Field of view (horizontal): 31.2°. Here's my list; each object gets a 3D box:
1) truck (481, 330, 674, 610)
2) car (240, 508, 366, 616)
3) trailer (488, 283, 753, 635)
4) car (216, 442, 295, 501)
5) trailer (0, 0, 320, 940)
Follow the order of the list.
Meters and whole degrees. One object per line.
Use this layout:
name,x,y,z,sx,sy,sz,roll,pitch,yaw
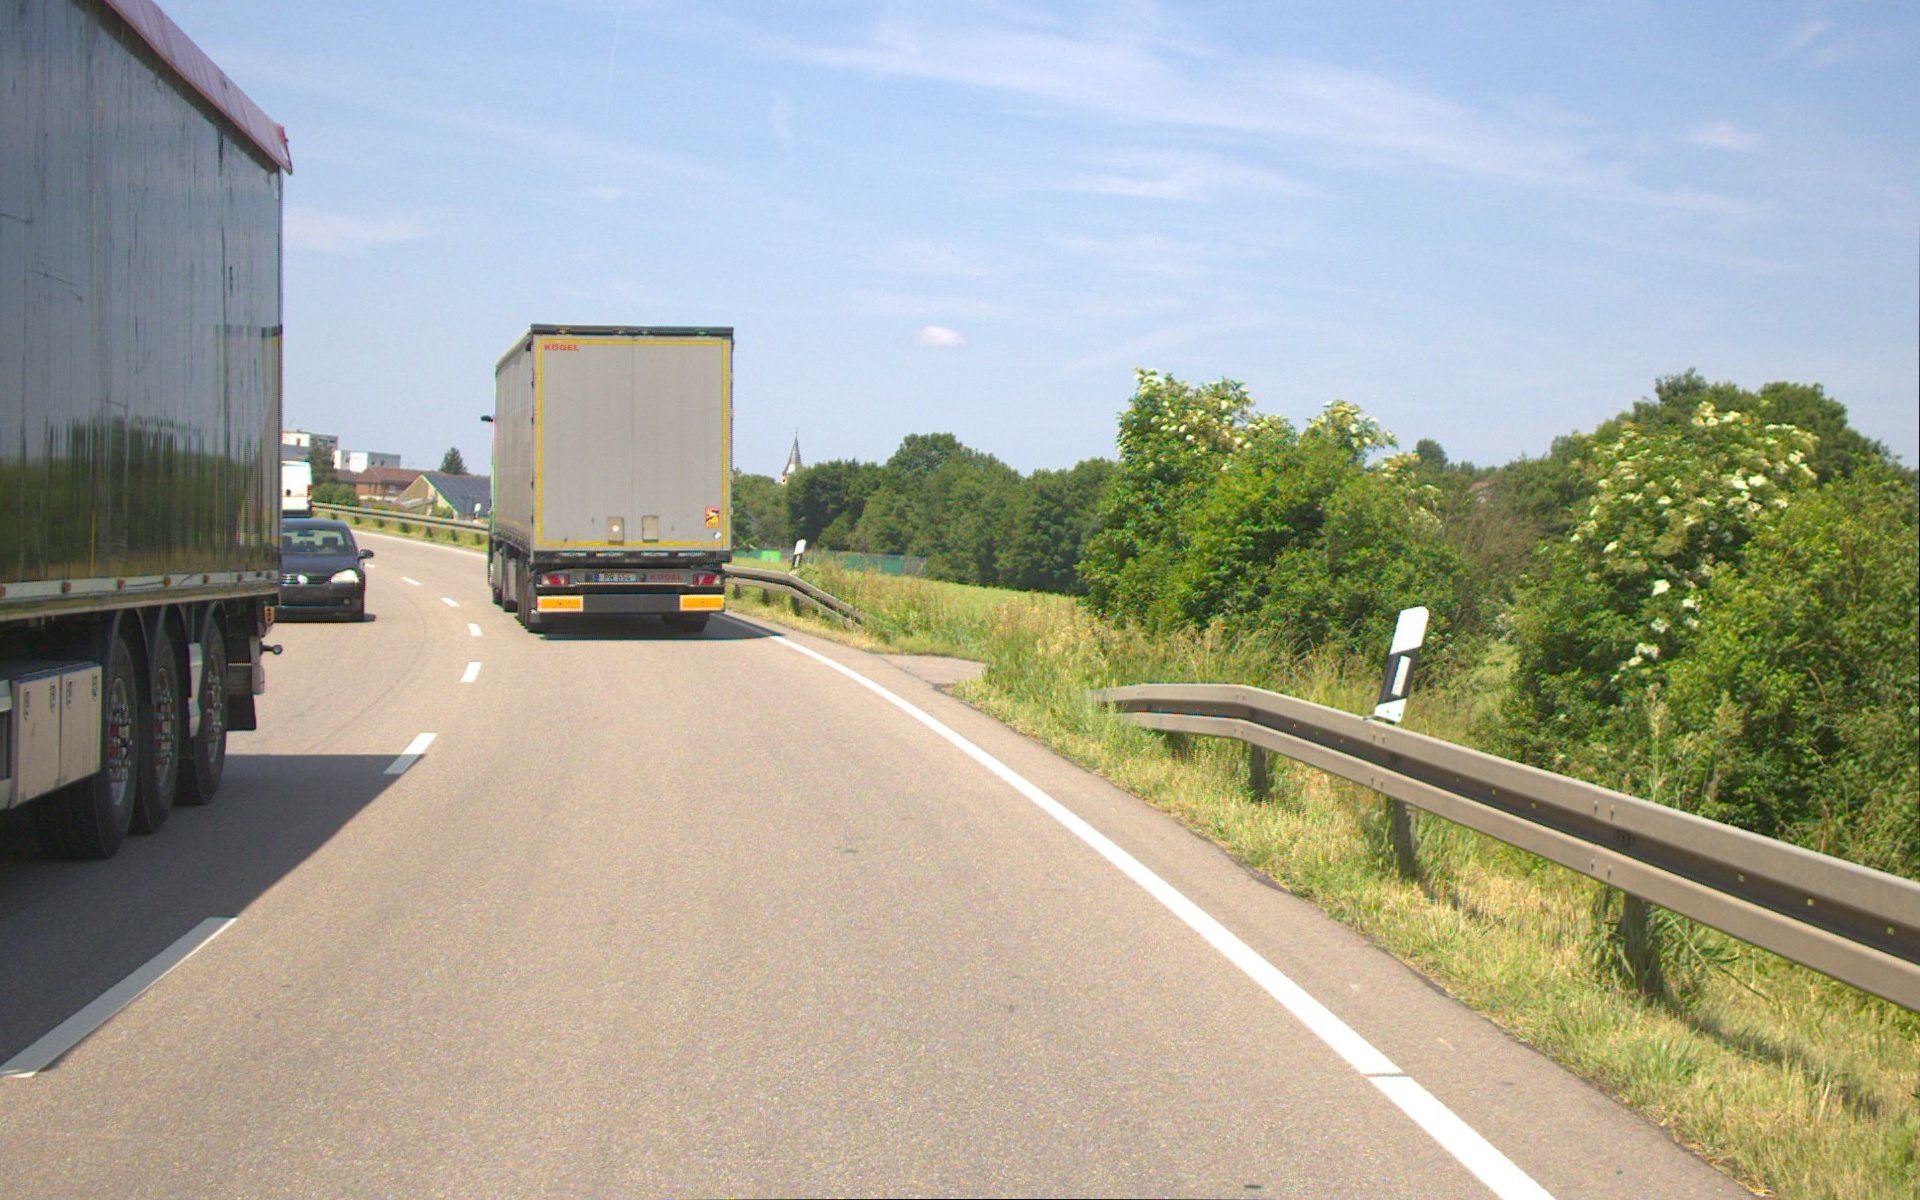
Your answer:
truck,-6.409,-2.099,57.006,2.858,4.385,5.072,0,1,-10
car,-9.667,-0.592,50.783,1.699,1.464,4.202,0,2,-9
trailer,-5.179,-1.959,49.938,2.866,4.385,13.497,0,2,-10
car,-23.357,-4.235,113.885,1.725,1.866,4.001,1,1,-24
trailer,-5.193,-0.927,14.667,3.241,4.135,14.446,0,1,-4
